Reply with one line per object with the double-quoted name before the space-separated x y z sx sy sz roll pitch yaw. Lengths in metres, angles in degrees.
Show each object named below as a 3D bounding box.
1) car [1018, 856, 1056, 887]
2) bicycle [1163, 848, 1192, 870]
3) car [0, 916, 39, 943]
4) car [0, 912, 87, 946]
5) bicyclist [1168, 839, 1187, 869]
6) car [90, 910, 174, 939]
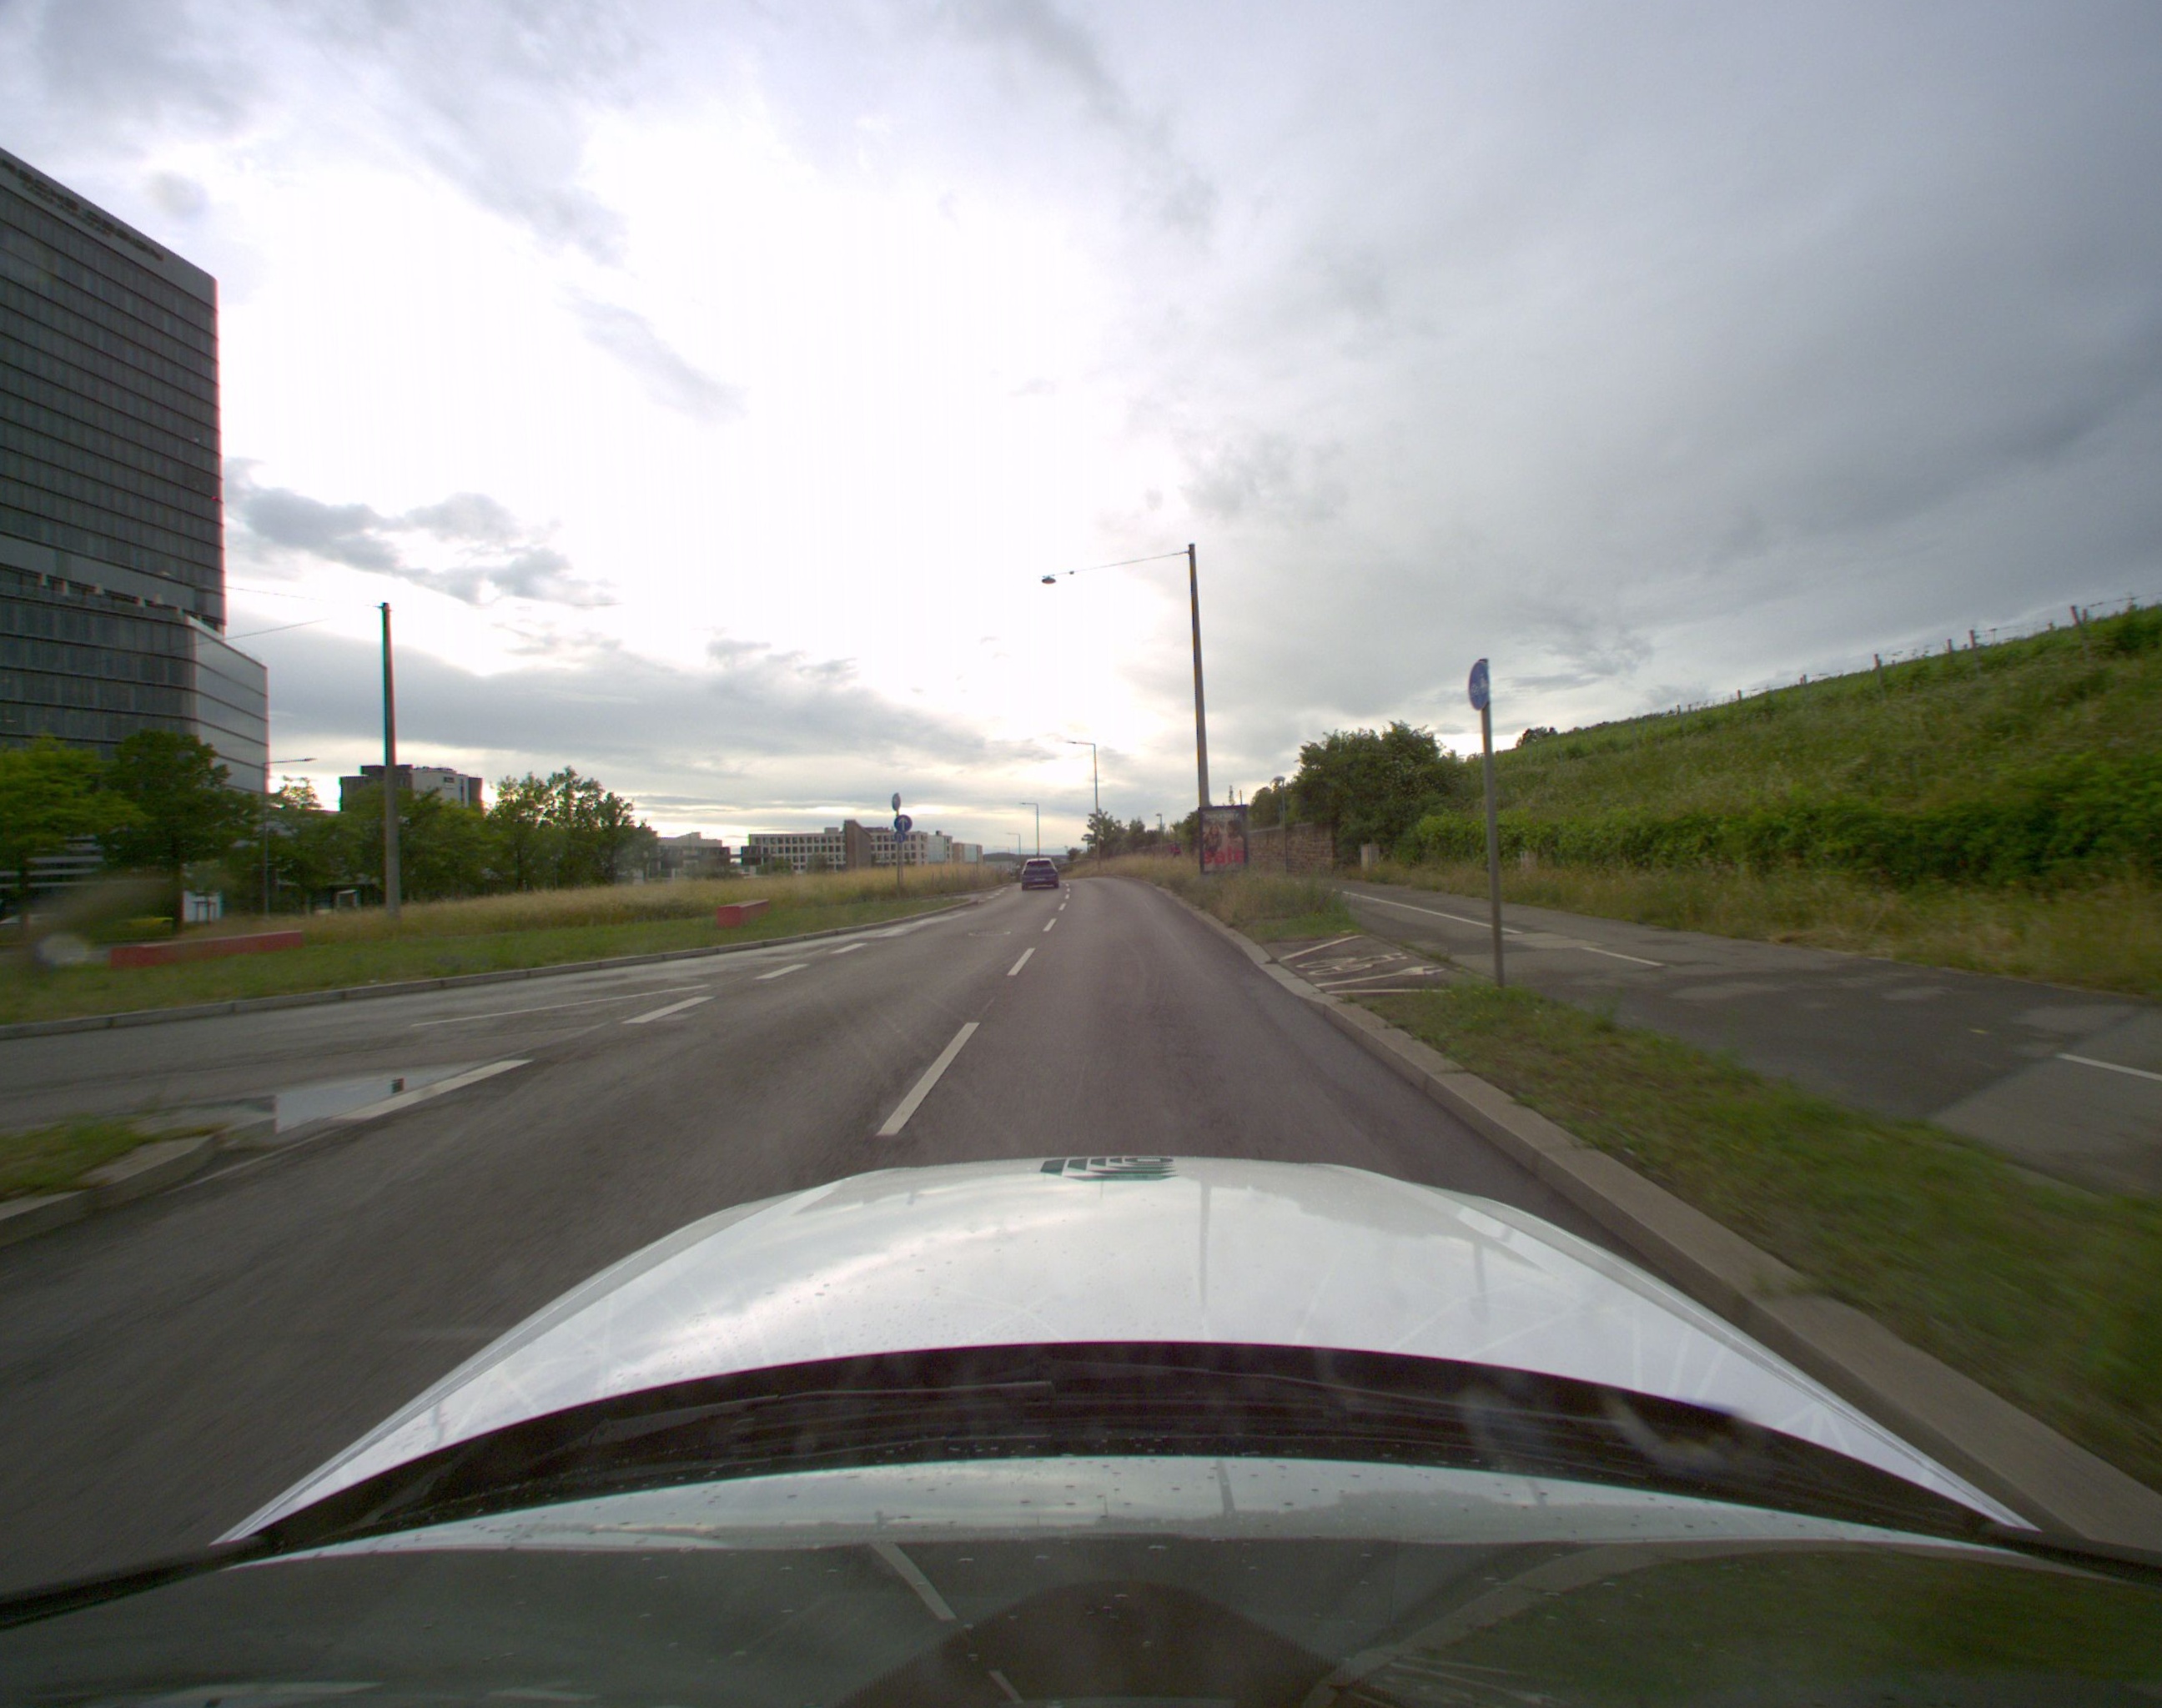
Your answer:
"car" -2.103 0.805 39.276 1.744 1.420 3.474 0 -1 -3
"bicycle" 6.276 0.352 53.186 0.869 1.288 3.472 0 -3 -11
"car" -88.733 6.201 66.472 1.980 2.014 4.014 0 -1 13
"car" -71.114 5.092 55.627 1.995 2.014 3.983 0 -1 -12
"bicyclist" 6.272 0.037 53.202 0.869 1.909 1.288 0 -3 -11
"car" -78.566 5.811 67.506 1.977 2.014 4.019 0 -1 18
